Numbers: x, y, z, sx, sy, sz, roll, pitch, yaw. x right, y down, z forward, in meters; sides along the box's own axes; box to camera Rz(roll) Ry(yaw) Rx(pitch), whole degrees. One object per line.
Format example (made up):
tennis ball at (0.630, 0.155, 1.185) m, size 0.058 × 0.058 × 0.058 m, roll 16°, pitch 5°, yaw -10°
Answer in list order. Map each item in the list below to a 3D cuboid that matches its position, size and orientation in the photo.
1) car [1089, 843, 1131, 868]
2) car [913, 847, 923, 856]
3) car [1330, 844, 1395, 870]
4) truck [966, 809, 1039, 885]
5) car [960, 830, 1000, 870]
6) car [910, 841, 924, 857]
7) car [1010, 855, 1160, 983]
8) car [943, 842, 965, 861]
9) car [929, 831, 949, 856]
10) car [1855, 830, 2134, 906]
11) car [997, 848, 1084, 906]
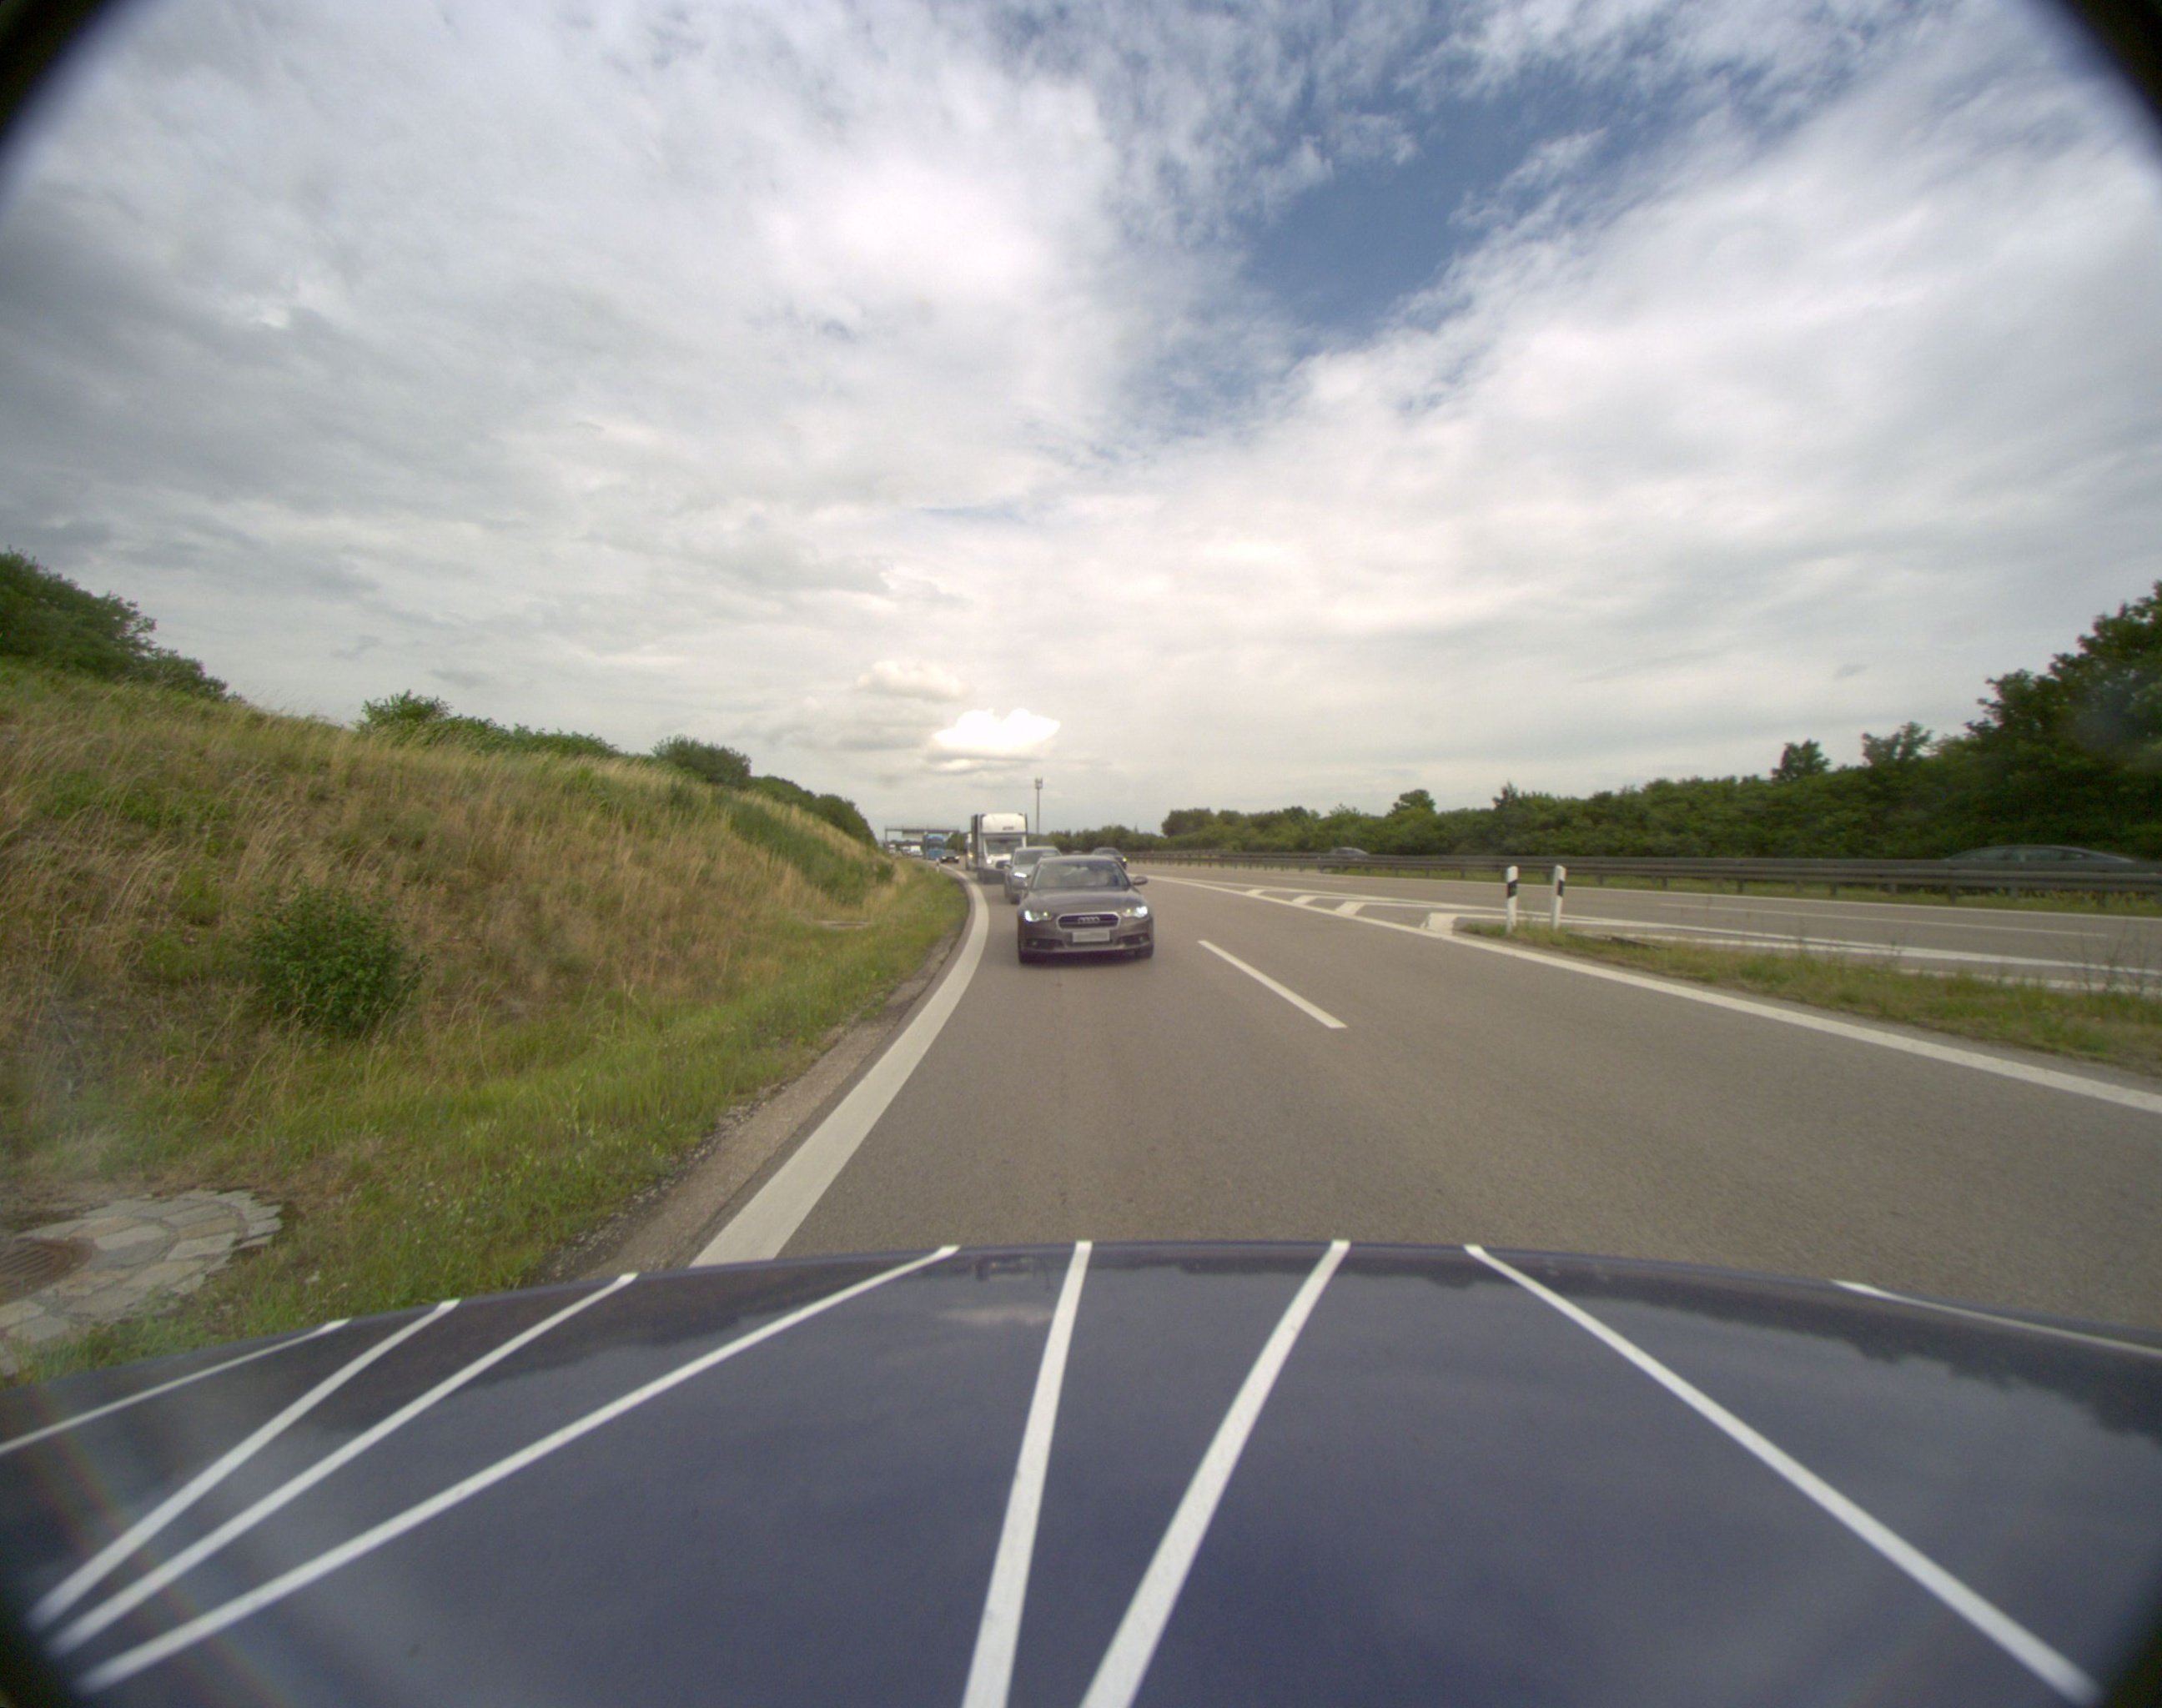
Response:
car at (1.858, 0.076, 50.145) m, size 1.716 × 1.546 × 3.994 m, roll -1°, pitch 1°, yaw -14°
car at (-35.890, -0.567, 167.095) m, size 1.932 × 2.020 × 3.994 m, roll -1°, pitch 1°, yaw -14°
car at (19.135, 0.173, 51.902) m, size 2.001 × 1.652 × 4.558 m, roll -1°, pitch 1°, yaw -13°
truck at (-3.877, -0.342, 36.190) m, size 2.451 × 3.217 × 7.181 m, roll -1°, pitch 1°, yaw -14°
car at (-7.545, -0.343, 56.069) m, size 2.023 × 2.729 × 6.918 m, roll -1°, pitch 1°, yaw -15°
car at (-37.519, -1.215, 173.922) m, size 2.949 × 3.447 × 6.561 m, roll -1°, pitch 1°, yaw -14°
car at (-0.051, 0.817, 11.577) m, size 1.849 × 1.489 × 4.027 m, roll -2°, pitch 1°, yaw -3°
car at (-14.014, -0.312, 83.515) m, size 2.001 × 2.002 × 3.994 m, roll -1°, pitch 1°, yaw -14°
car at (-22.243, -1.634, 118.992) m, size 2.507 × 3.690 × 7.691 m, roll -1°, pitch 1°, yaw -14°
car at (22.622, 0.286, 19.066) m, size 2.001 × 1.674 × 3.994 m, roll -1°, pitch 1°, yaw -15°
car at (-1.332, 0.617, 23.111) m, size 2.001 × 1.567 × 3.995 m, roll -1°, pitch 1°, yaw -13°
